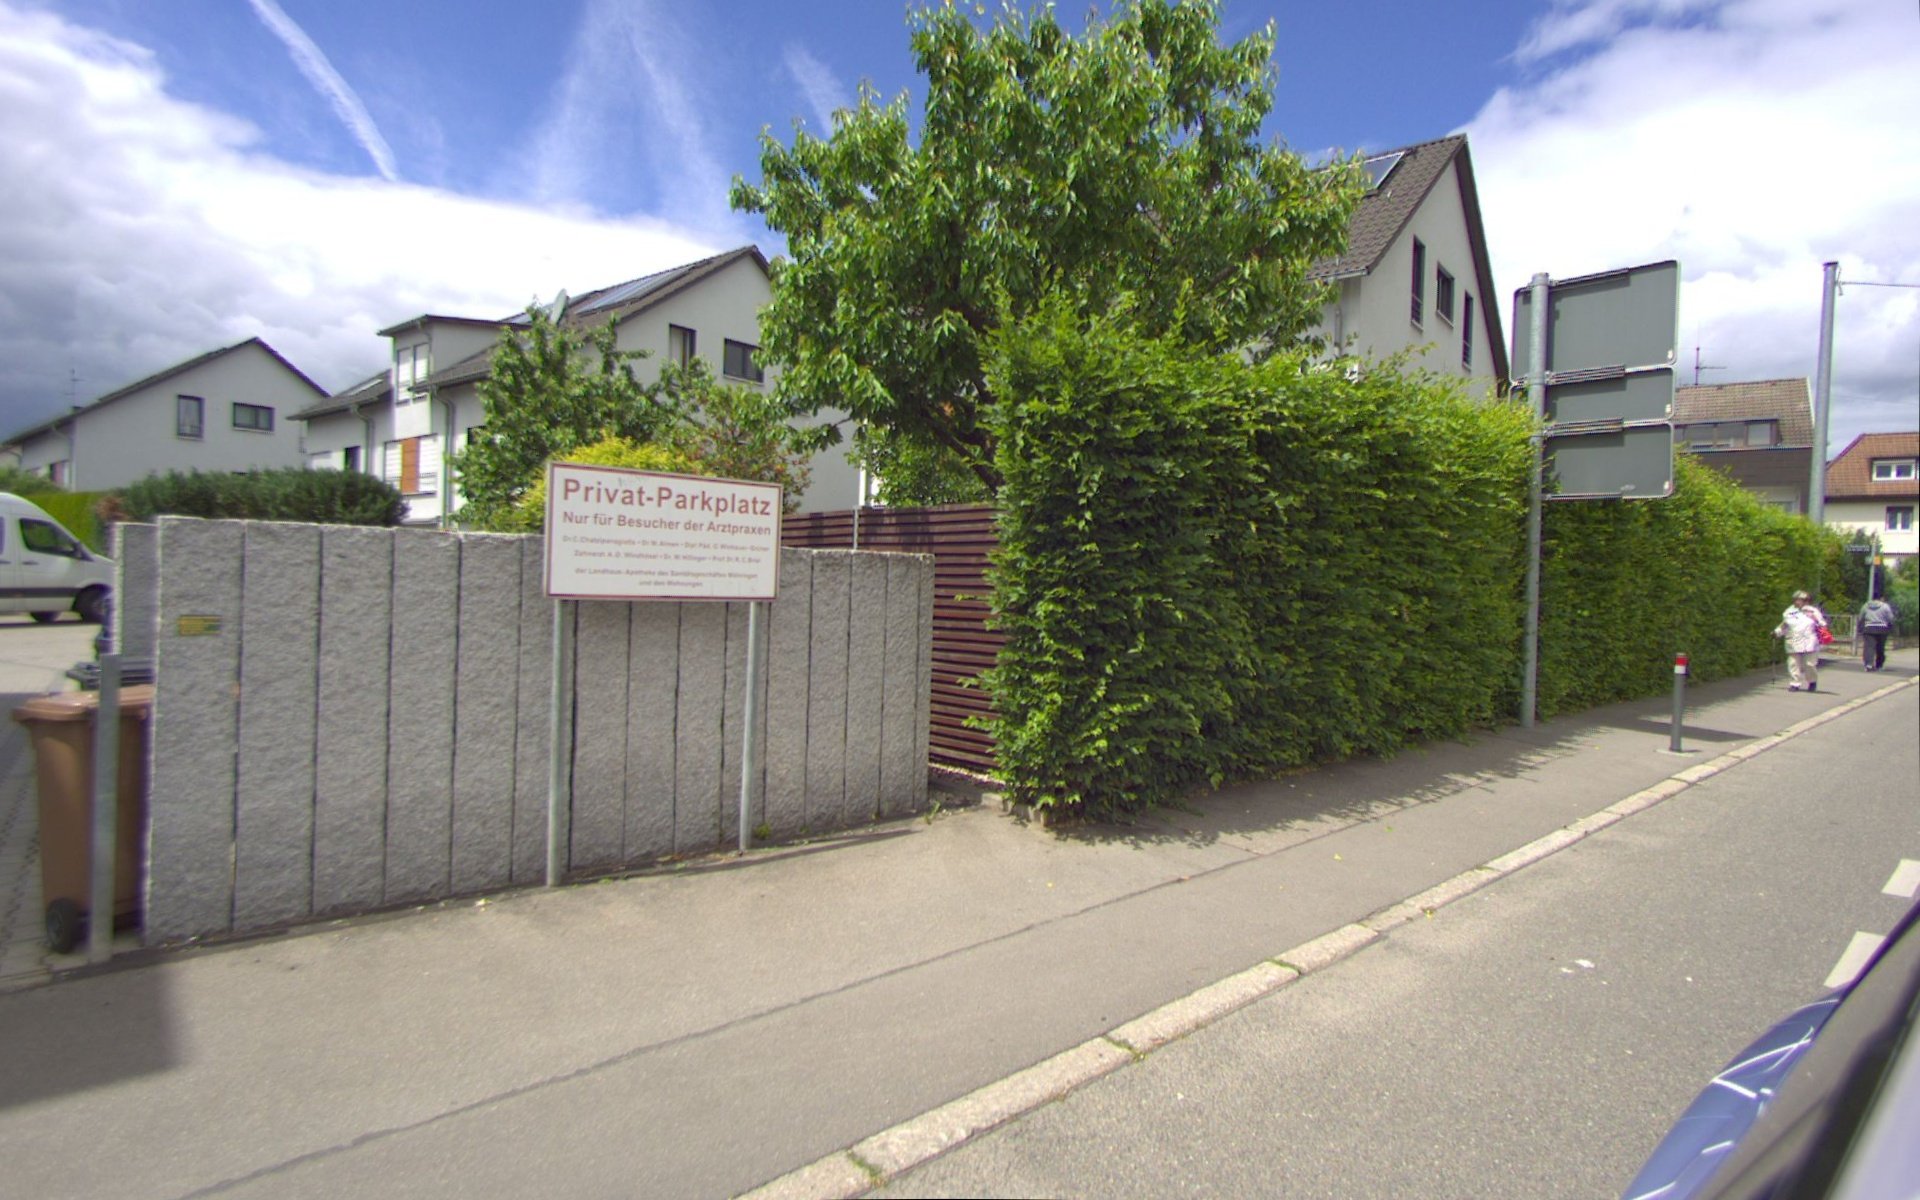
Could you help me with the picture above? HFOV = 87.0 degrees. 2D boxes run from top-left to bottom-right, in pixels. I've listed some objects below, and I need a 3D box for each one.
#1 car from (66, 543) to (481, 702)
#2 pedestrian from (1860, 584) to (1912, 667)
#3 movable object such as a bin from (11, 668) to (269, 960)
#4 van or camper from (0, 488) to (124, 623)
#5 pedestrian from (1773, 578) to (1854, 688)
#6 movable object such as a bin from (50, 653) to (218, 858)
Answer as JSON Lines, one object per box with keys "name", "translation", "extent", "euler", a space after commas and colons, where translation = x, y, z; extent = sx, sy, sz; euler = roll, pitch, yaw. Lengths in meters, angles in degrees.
{"name": "car", "translation": [-7.904, 0.178, 12.073], "extent": [1.768, 1.555, 3.768], "euler": [2, 1, 23]}
{"name": "pedestrian", "translation": [18.884, 0.497, 20.637], "extent": [0.821, 1.625, 0.604], "euler": [0, 3, -40]}
{"name": "movable object such as a bin", "translation": [-3.246, 0.788, 4.024], "extent": [0.530, 0.963, 0.679], "euler": [1, 0, 35]}
{"name": "van or camper", "translation": [-19.480, -0.859, 19.079], "extent": [2.034, 2.574, 5.475], "euler": [1, 1, 21]}
{"name": "pedestrian", "translation": [13.369, 0.497, 15.851], "extent": [0.641, 1.637, 0.801], "euler": [0, 2, -39]}
{"name": "movable object such as a bin", "translation": [-4.188, 0.753, 5.139], "extent": [0.490, 0.924, 0.534], "euler": [1, 0, 32]}
